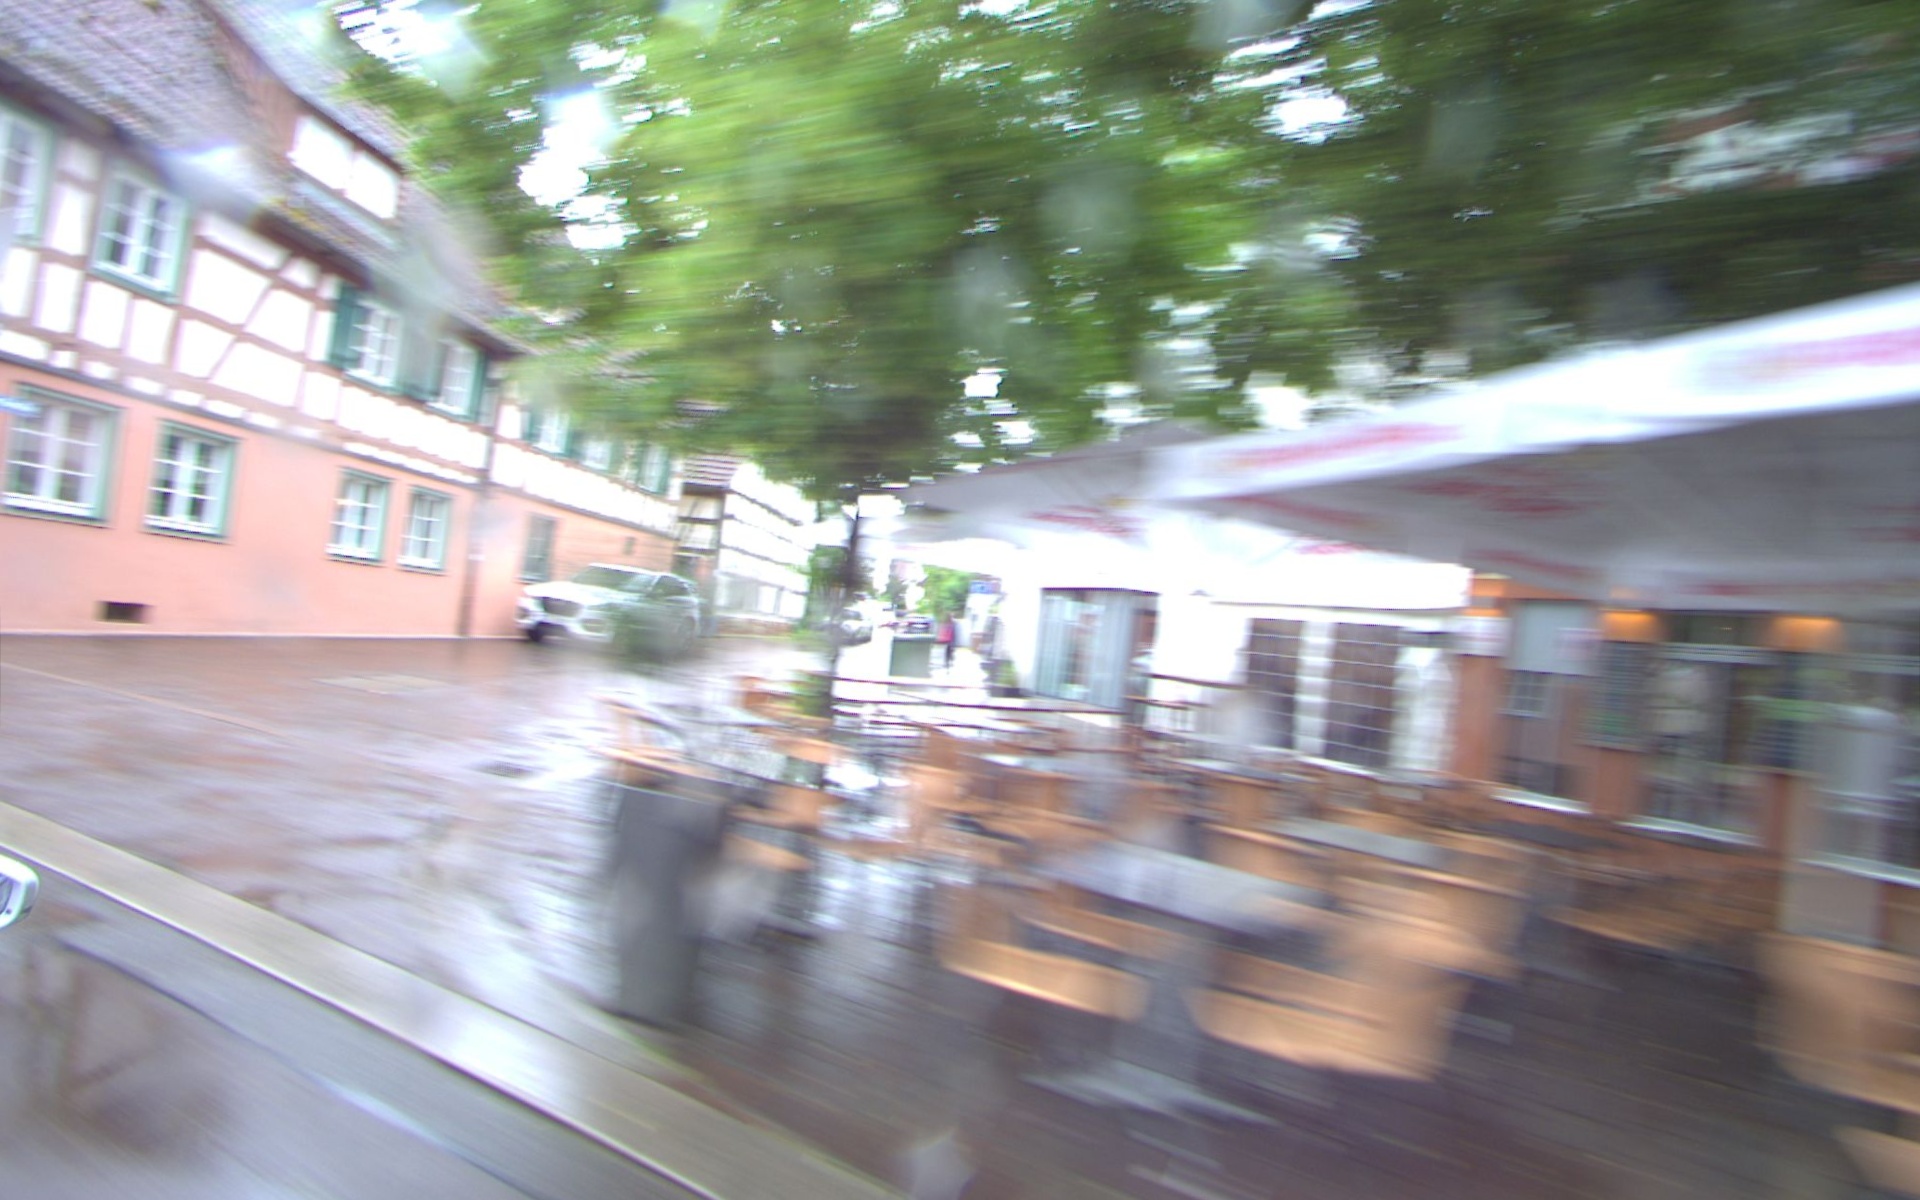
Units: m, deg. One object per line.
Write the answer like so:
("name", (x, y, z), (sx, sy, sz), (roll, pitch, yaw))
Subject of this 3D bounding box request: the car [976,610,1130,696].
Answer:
("car", (2.452, 1.408, 26.908), (3.669, 1.792, 1.624), (7, -2, -10))

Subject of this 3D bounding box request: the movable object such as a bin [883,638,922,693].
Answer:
("movable object such as a bin", (-1.266, 1.437, 22.051), (0.595, 1.106, 0.657), (7, -1, 10))

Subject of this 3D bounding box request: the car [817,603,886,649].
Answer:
("car", (-4.416, 1.109, 41.556), (1.962, 1.547, 4.005), (7, -2, 5))

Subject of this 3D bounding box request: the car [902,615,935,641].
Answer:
("car", (-2.830, 1.871, 67.140), (1.964, 1.458, 4.027), (7, -2, -3))

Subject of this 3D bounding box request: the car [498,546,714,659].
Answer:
("car", (-6.765, 0.163, 19.861), (1.908, 1.649, 4.472), (10, -2, 9))

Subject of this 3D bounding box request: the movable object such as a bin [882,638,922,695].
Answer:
("movable object such as a bin", (-1.225, 1.409, 21.330), (0.595, 1.106, 0.657), (7, -1, 10))

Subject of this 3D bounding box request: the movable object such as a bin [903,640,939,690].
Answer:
("movable object such as a bin", (-0.913, 1.537, 23.812), (0.595, 1.106, 0.657), (7, -1, 10))

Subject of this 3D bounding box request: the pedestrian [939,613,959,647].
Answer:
("pedestrian", (-0.632, 1.646, 55.304), (0.822, 1.724, 0.901), (7, -1, -6))

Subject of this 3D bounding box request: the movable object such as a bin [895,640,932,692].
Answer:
("movable object such as a bin", (-1.060, 1.507, 22.999), (0.595, 1.106, 0.657), (7, -1, 10))

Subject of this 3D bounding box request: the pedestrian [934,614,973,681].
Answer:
("pedestrian", (-0.154, 1.158, 24.641), (0.746, 1.536, 0.842), (7, -1, 3))
